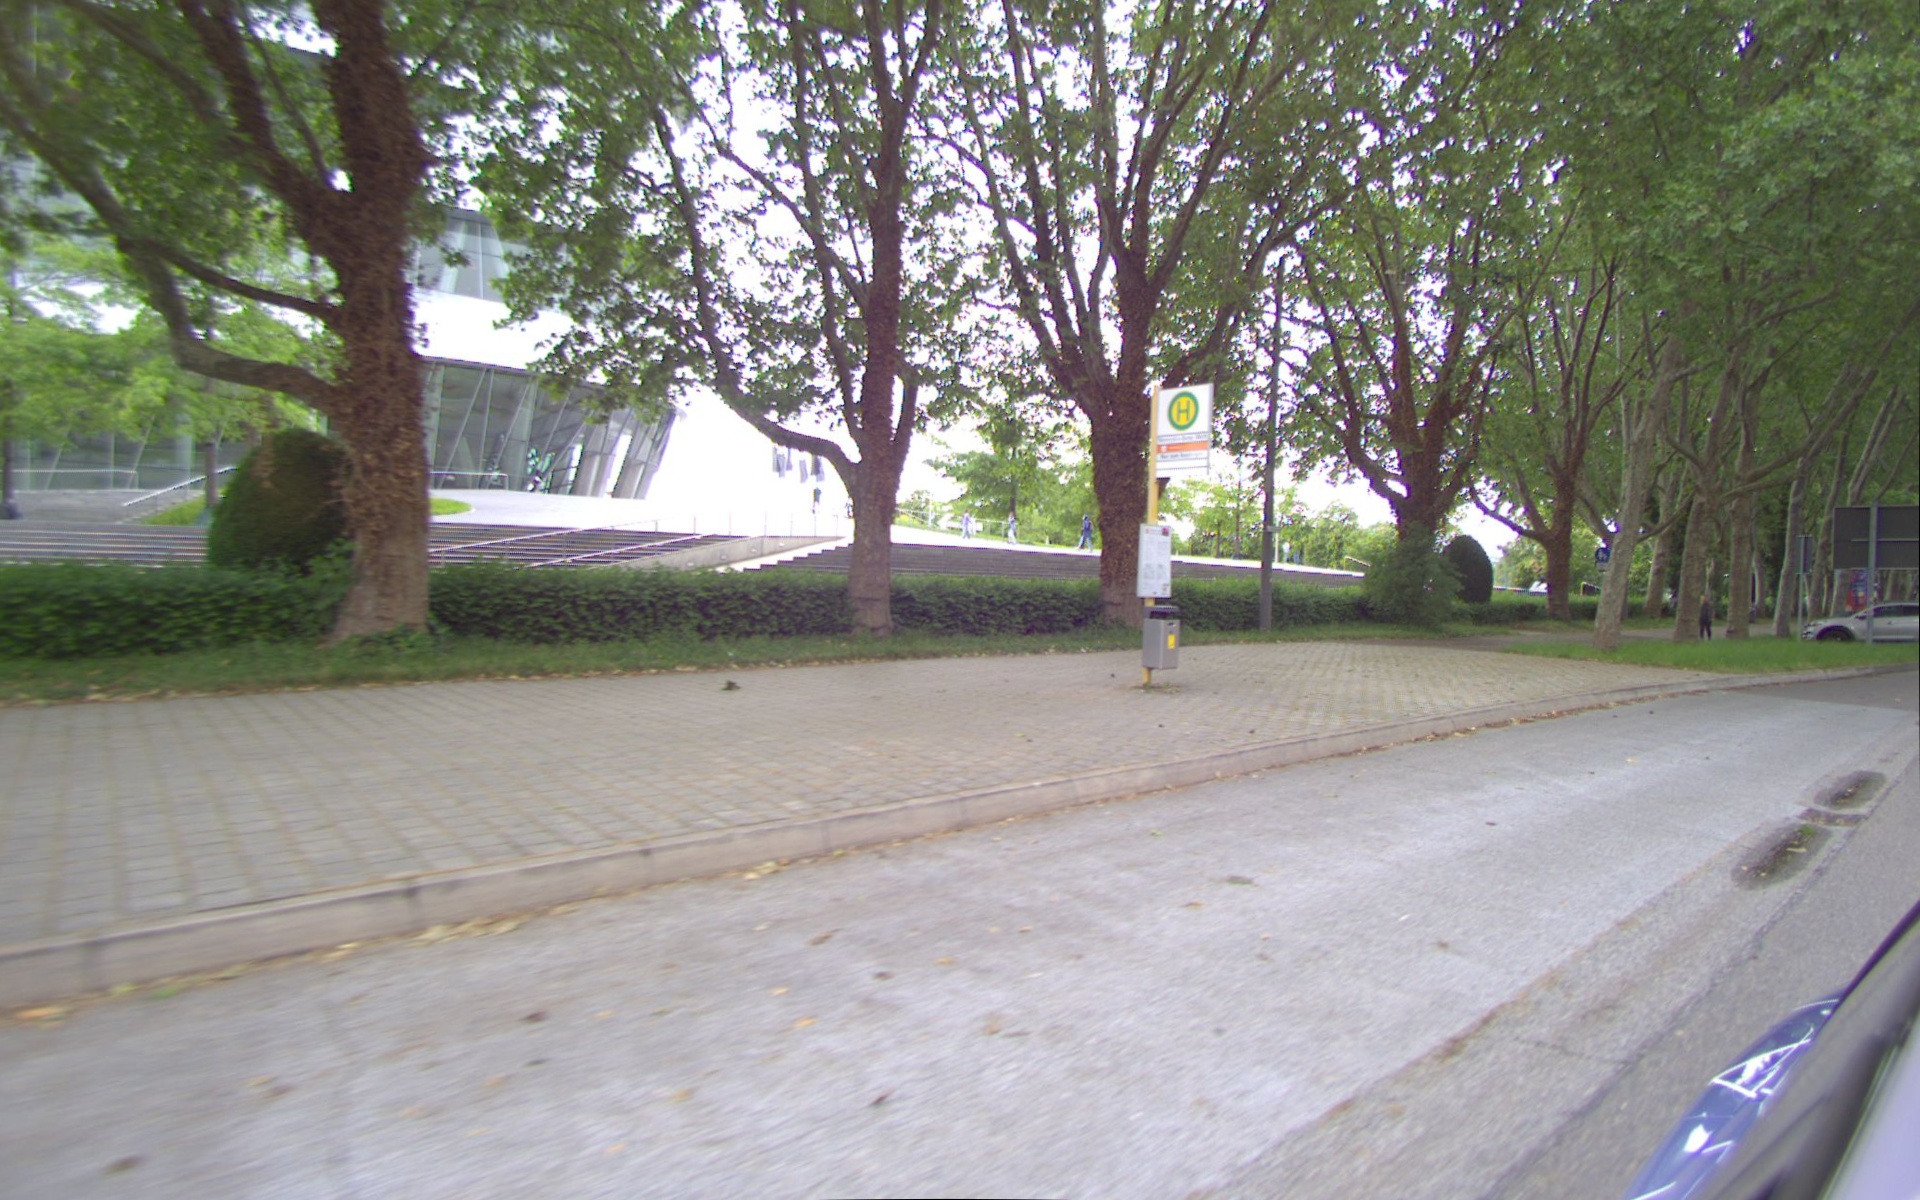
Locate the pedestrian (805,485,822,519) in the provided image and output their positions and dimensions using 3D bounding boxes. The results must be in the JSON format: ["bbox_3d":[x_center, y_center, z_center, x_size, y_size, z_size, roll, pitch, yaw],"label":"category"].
[{"bbox_3d":[-8.173,-5.442,56.409,0.667,1.787,0.838,0,1,-26],"label":"pedestrian"}]

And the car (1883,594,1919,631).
[{"bbox_3d":[46.633,0.619,47.822,1.806,1.768,4.350,1,0,-43],"label":"car"}]

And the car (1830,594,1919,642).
[{"bbox_3d":[33.757,0.626,35.769,1.892,1.654,4.353,1,0,-41],"label":"car"}]

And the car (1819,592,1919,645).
[{"bbox_3d":[30.546,0.579,32.475,1.892,1.654,4.353,1,0,-41],"label":"car"}]

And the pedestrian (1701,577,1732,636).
[{"bbox_3d":[26.251,0.218,35.123,0.781,2.039,0.592,1,1,32],"label":"pedestrian"}]

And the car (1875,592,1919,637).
[{"bbox_3d":[39.676,0.624,40.529,1.893,1.782,4.352,1,2,-43],"label":"car"}]

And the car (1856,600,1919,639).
[{"bbox_3d":[37.699,0.788,39.205,1.917,1.474,4.350,1,0,-43],"label":"car"}]

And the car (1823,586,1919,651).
[{"bbox_3d":[30.467,0.584,32.489,1.965,2.039,3.993,1,0,-41],"label":"car"}]

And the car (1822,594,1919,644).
[{"bbox_3d":[32.294,0.645,34.386,1.892,1.625,4.353,1,0,-41],"label":"car"}]

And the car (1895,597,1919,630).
[{"bbox_3d":[50.324,0.731,50.928,1.839,1.660,4.601,1,0,-40],"label":"car"}]
